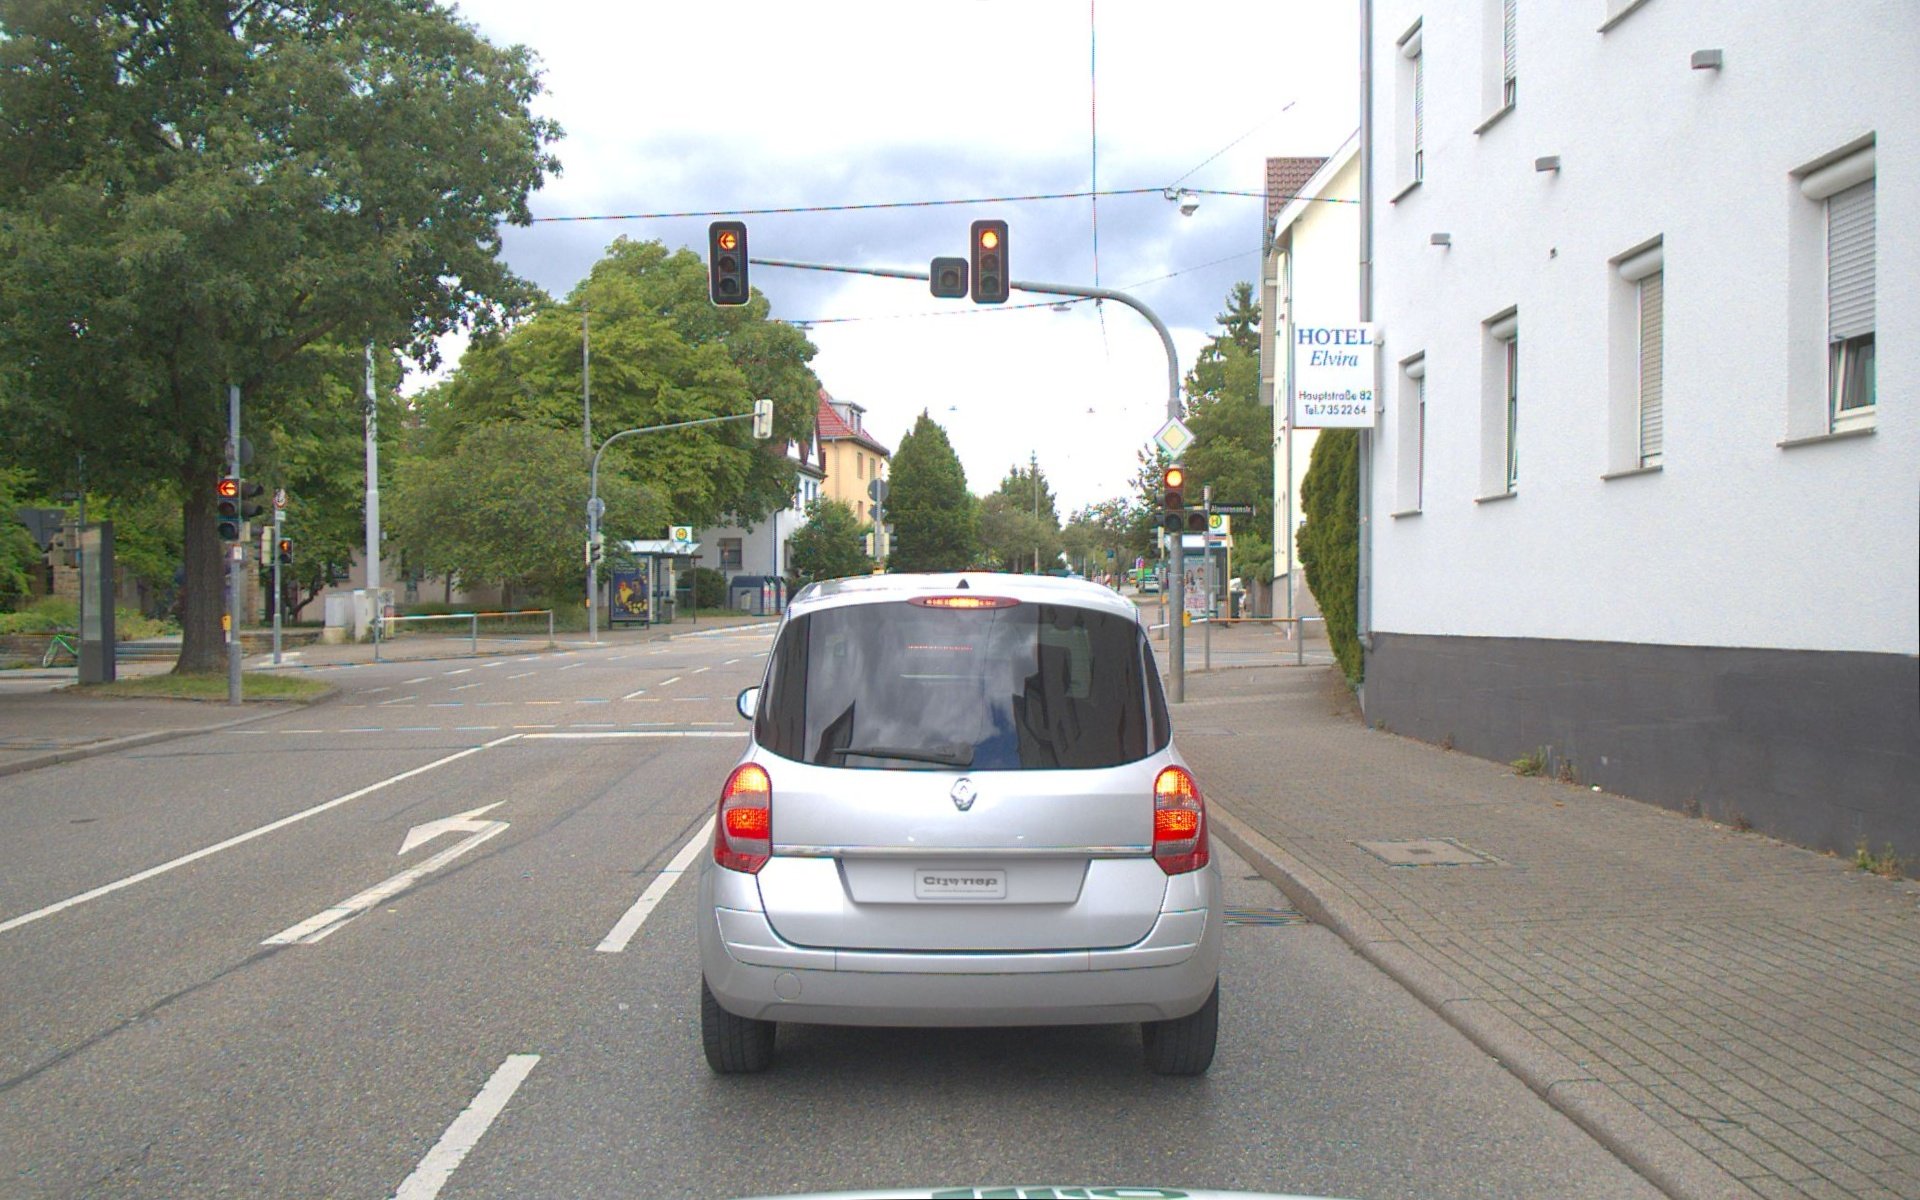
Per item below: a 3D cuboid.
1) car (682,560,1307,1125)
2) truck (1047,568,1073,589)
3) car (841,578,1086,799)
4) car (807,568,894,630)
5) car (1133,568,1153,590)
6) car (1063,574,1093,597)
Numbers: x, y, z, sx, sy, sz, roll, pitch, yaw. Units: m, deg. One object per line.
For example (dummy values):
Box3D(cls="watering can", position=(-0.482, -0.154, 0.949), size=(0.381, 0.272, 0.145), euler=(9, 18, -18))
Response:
Box3D(cls="car", position=(0.060, 0.674, 6.582), size=(1.719, 1.557, 3.999), euler=(1, 0, -1))
Box3D(cls="truck", position=(10.080, -2.148, 166.688), size=(2.056, 2.049, 5.752), euler=(1, 0, 9))
Box3D(cls="car", position=(-0.011, 0.626, 13.618), size=(1.719, 1.557, 3.796), euler=(1, 0, -1))
Box3D(cls="car", position=(-3.538, -0.046, 54.132), size=(1.885, 1.804, 4.004), euler=(-4, 0, 9))
Box3D(cls="car", position=(22.583, -2.547, 203.553), size=(2.015, 2.556, 5.600), euler=(1, 0, 11))
Box3D(cls="car", position=(9.269, -1.145, 129.601), size=(1.818, 1.778, 4.003), euler=(1, 0, 11))
